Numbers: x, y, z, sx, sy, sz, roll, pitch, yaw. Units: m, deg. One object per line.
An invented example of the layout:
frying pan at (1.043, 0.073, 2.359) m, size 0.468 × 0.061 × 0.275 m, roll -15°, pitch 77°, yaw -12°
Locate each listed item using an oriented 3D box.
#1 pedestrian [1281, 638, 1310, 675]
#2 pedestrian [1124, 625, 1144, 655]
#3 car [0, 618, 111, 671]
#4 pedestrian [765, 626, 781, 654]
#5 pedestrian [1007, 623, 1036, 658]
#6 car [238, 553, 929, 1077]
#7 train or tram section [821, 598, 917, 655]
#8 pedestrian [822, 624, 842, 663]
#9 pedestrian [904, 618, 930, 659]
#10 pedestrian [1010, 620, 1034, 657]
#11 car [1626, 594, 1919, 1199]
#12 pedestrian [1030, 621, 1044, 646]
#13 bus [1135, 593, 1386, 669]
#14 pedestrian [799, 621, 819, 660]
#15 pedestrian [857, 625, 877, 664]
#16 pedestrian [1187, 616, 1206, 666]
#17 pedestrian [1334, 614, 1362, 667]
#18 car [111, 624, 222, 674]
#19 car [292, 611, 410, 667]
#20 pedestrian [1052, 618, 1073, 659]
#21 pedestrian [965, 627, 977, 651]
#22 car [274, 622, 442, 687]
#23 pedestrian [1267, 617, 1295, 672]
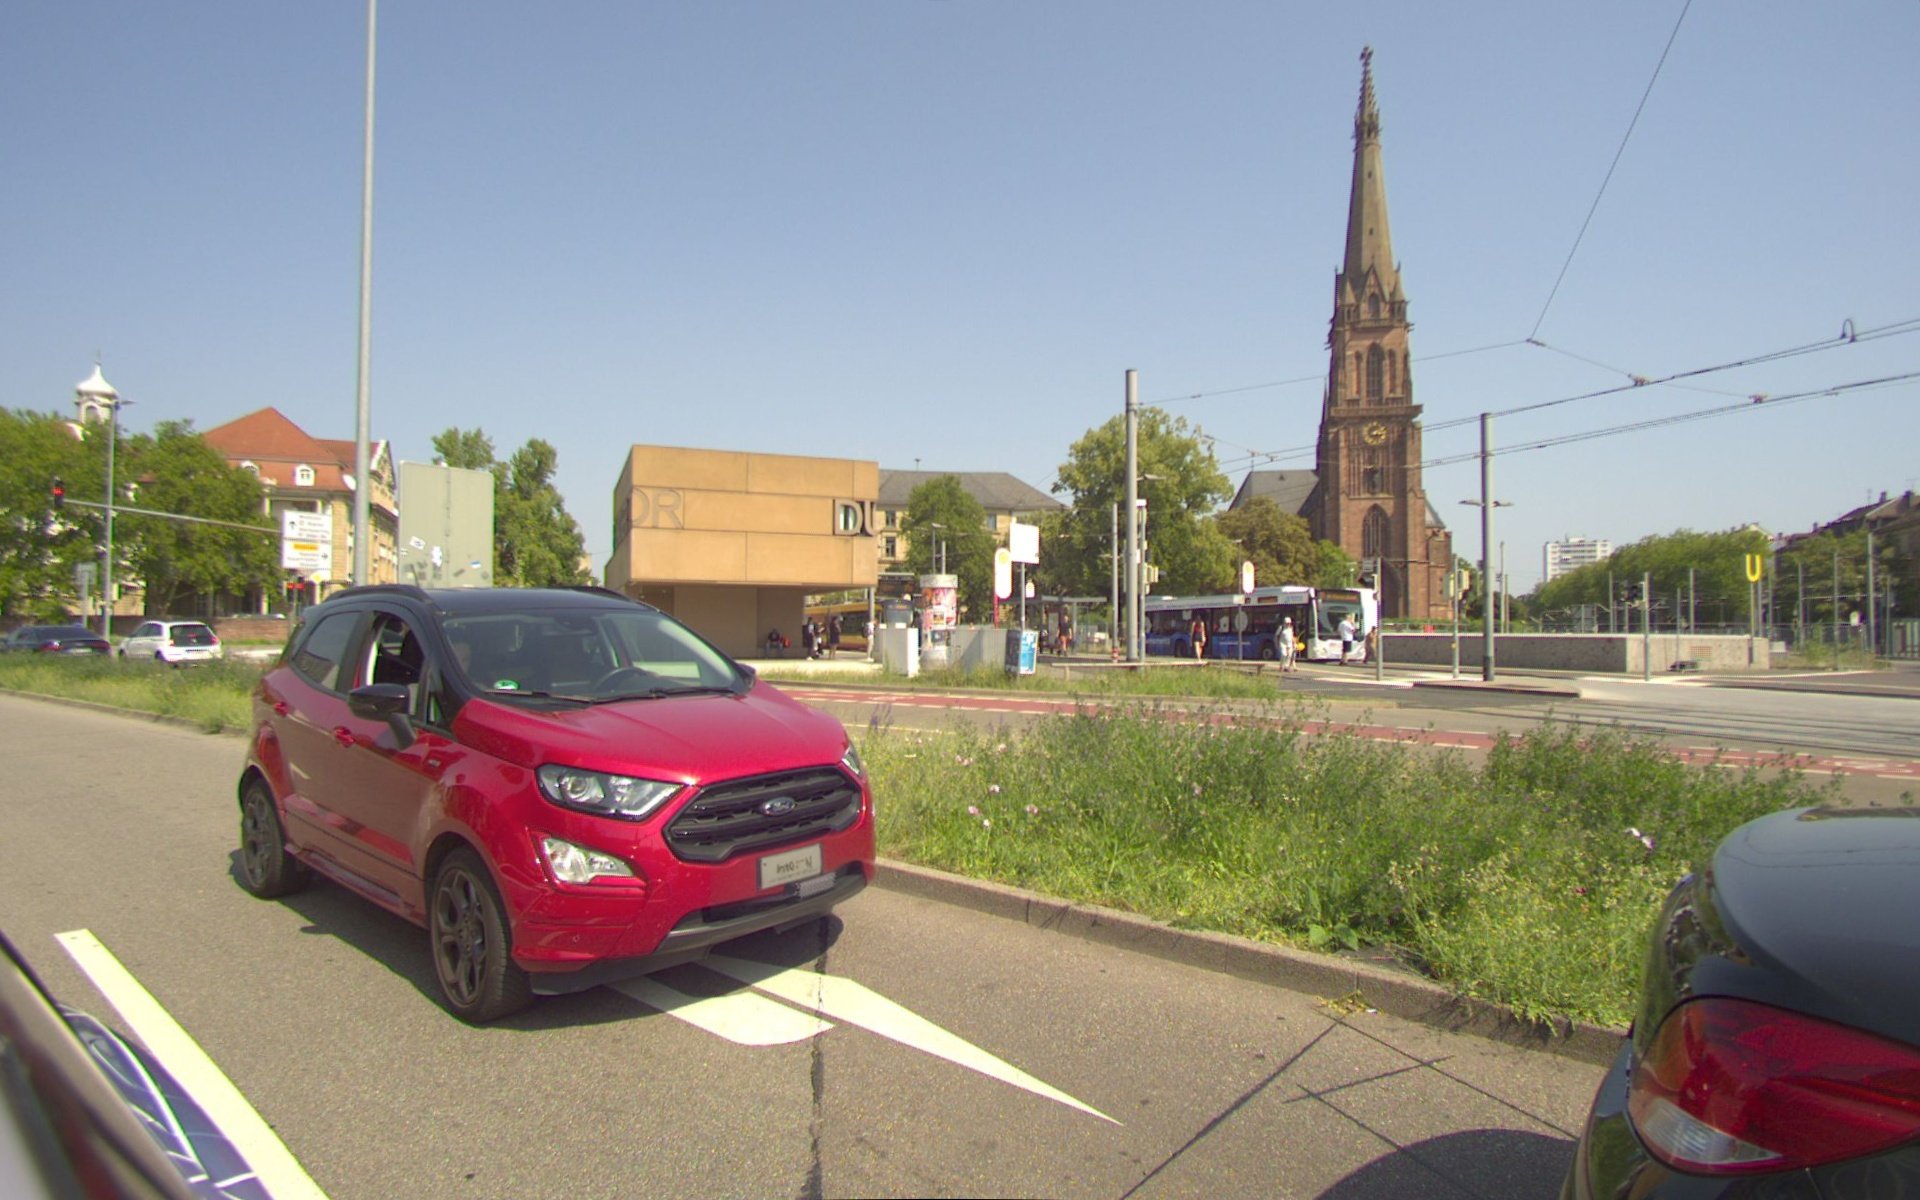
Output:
pedestrian at (10.831, 1.809, 32.703) m, size 0.627 × 1.134 × 0.604 m, roll -1°, pitch 0°, yaw -22°
pedestrian at (9.584, 2.185, 55.648) m, size 0.779 × 1.645 × 0.758 m, roll 1°, pitch -2°, yaw -22°
car at (-25.929, 1.255, 28.943) m, size 3.466 × 1.437 × 1.510 m, roll -1°, pitch -2°, yaw 32°
pedestrian at (-7.518, 1.615, 40.702) m, size 0.530 × 1.108 × 0.543 m, roll 1°, pitch -2°, yaw -18°
pedestrian at (3.049, 2.020, 50.284) m, size 1.060 × 1.709 × 1.068 m, roll 1°, pitch -2°, yaw -21°
car at (-2.110, 0.689, 5.028) m, size 3.845 × 1.598 × 1.671 m, roll -2°, pitch -1°, yaw 43°
train or tram section at (-6.341, 1.799, 67.450) m, size 2.658 × 3.465 × 13.464 m, roll 1°, pitch -2°, yaw -21°
pedestrian at (-5.041, 1.697, 39.863) m, size 0.541 × 1.508 × 0.532 m, roll -1°, pitch -3°, yaw 39°
pedestrian at (-1.570, 1.412, 37.353) m, size 0.605 × 1.508 × 0.761 m, roll -1°, pitch -3°, yaw 39°
pedestrian at (3.095, 1.901, 50.458) m, size 0.913 × 1.837 × 0.940 m, roll 1°, pitch -2°, yaw -21°
car at (2.731, 0.657, 0.446) m, size 1.745 × 1.398 × 3.783 m, roll 0°, pitch -1°, yaw -45°
pedestrian at (5.236, 2.281, 68.784) m, size 0.750 × 1.645 × 0.931 m, roll -1°, pitch -2°, yaw 20°
bus at (12.058, 1.334, 42.802) m, size 3.346 × 2.733 × 12.382 m, roll 1°, pitch -2°, yaw -21°
pedestrian at (-5.811, 1.560, 39.016) m, size 0.541 × 1.508 × 0.532 m, roll -1°, pitch -3°, yaw 39°
pedestrian at (-3.658, 1.749, 39.883) m, size 0.541 × 1.508 × 0.532 m, roll -1°, pitch -3°, yaw 39°
pedestrian at (8.775, 1.514, 37.536) m, size 0.632 × 1.825 × 0.599 m, roll -1°, pitch 0°, yaw 16°
pedestrian at (13.524, 1.391, 35.276) m, size 0.591 × 1.825 × 0.640 m, roll -1°, pitch 0°, yaw -30°
car at (-25.300, 1.536, 32.255) m, size 3.461 × 1.490 × 1.512 m, roll -1°, pitch -2°, yaw 28°
car at (-21.453, 1.353, 35.654) m, size 3.898 × 1.868 × 1.851 m, roll 0°, pitch -2°, yaw 29°
pedestrian at (4.617, 1.719, 45.743) m, size 0.792 × 1.837 × 0.535 m, roll 1°, pitch -2°, yaw -21°
pedestrian at (0.619, 2.249, 58.464) m, size 0.546 × 1.405 × 0.535 m, roll 1°, pitch -2°, yaw -21°
car at (-15.987, 1.394, 26.816) m, size 4.701 × 1.597 × 1.977 m, roll -1°, pitch -2°, yaw 33°
pedestrian at (10.278, 1.417, 32.424) m, size 0.527 × 1.724 × 0.695 m, roll 1°, pitch -2°, yaw -21°
